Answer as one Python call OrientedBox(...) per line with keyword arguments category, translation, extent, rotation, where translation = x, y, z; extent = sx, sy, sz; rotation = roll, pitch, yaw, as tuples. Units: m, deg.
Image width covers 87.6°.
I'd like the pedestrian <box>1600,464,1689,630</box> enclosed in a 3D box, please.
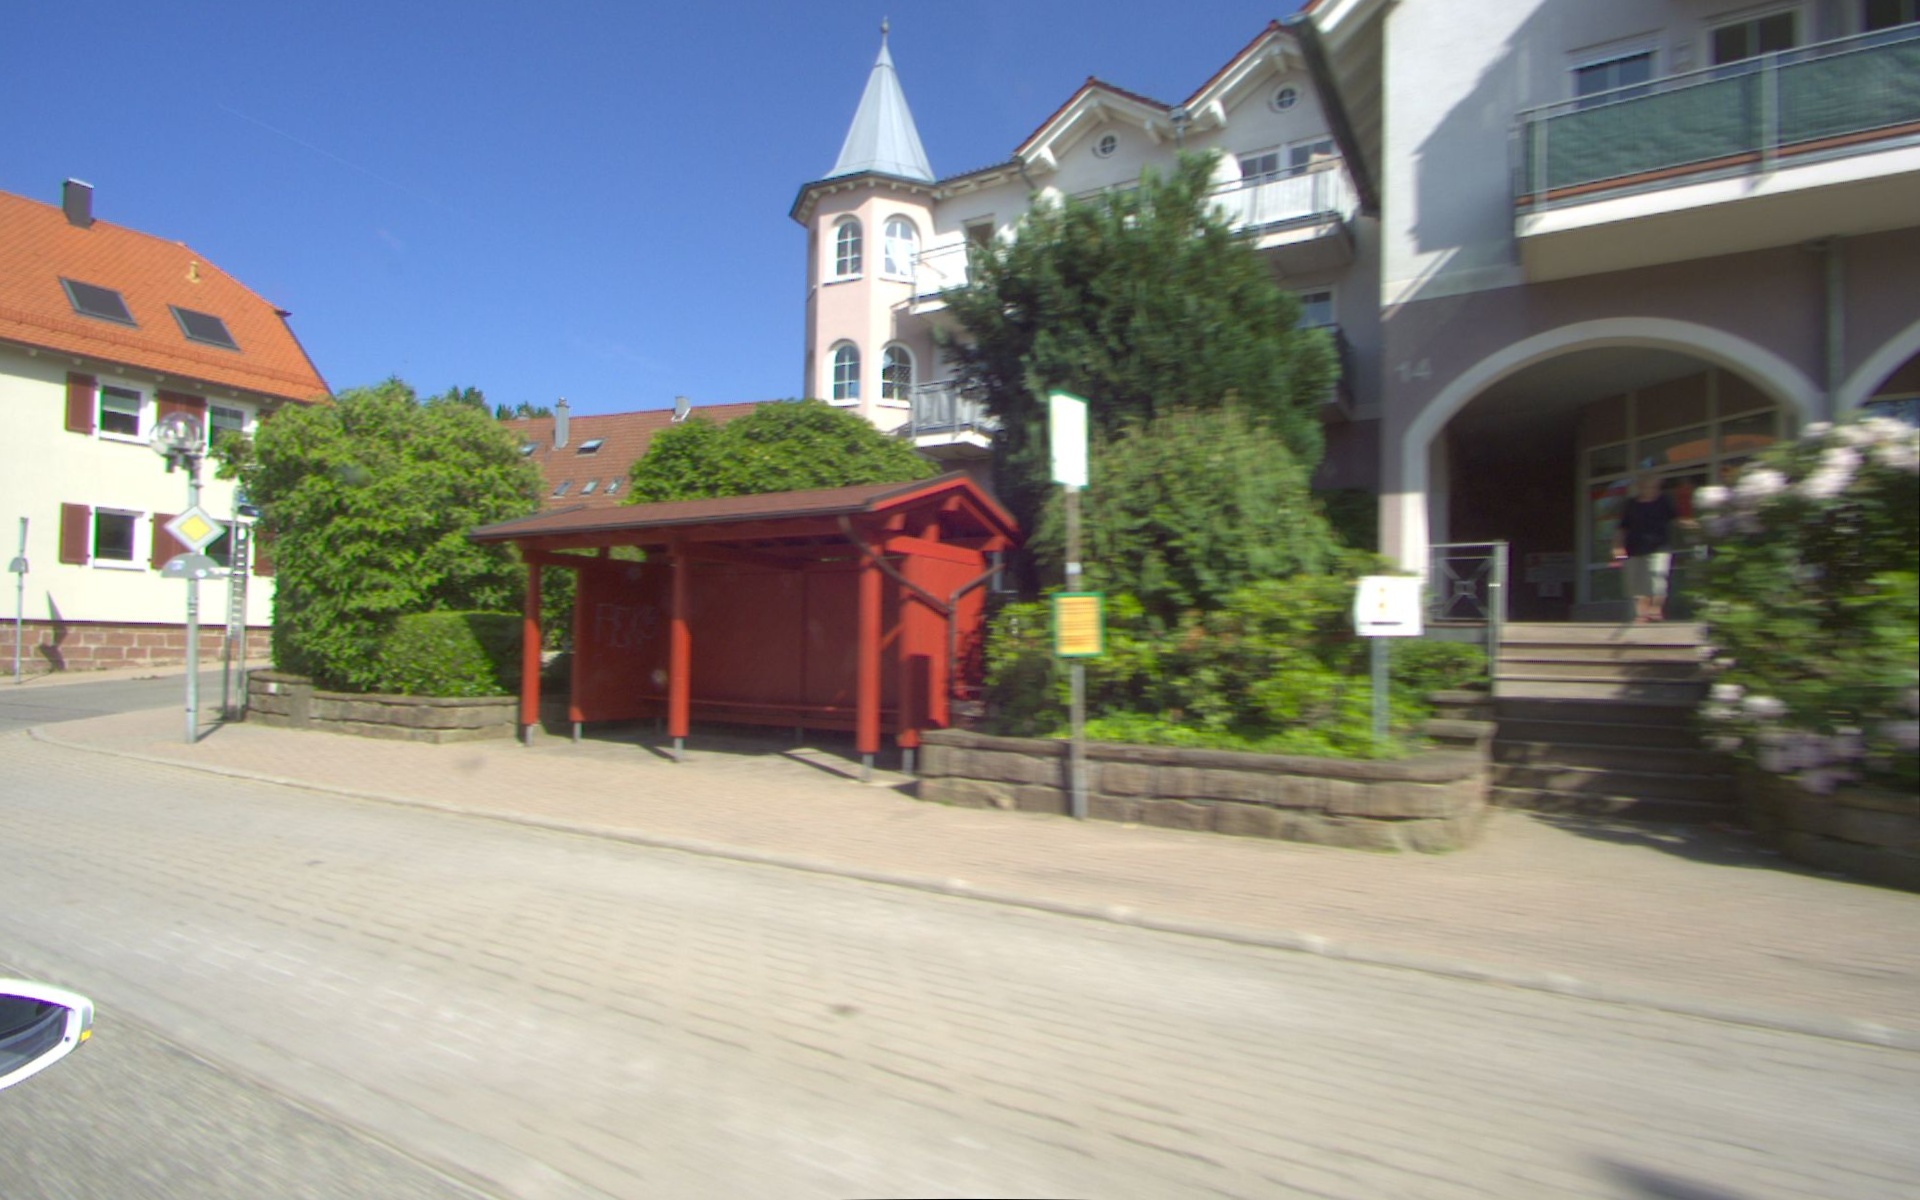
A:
OrientedBox(category="pedestrian", translation=(7.531, -0.563, 11.040), extent=(0.746, 1.746, 0.611), rotation=(2, 2, 34))
